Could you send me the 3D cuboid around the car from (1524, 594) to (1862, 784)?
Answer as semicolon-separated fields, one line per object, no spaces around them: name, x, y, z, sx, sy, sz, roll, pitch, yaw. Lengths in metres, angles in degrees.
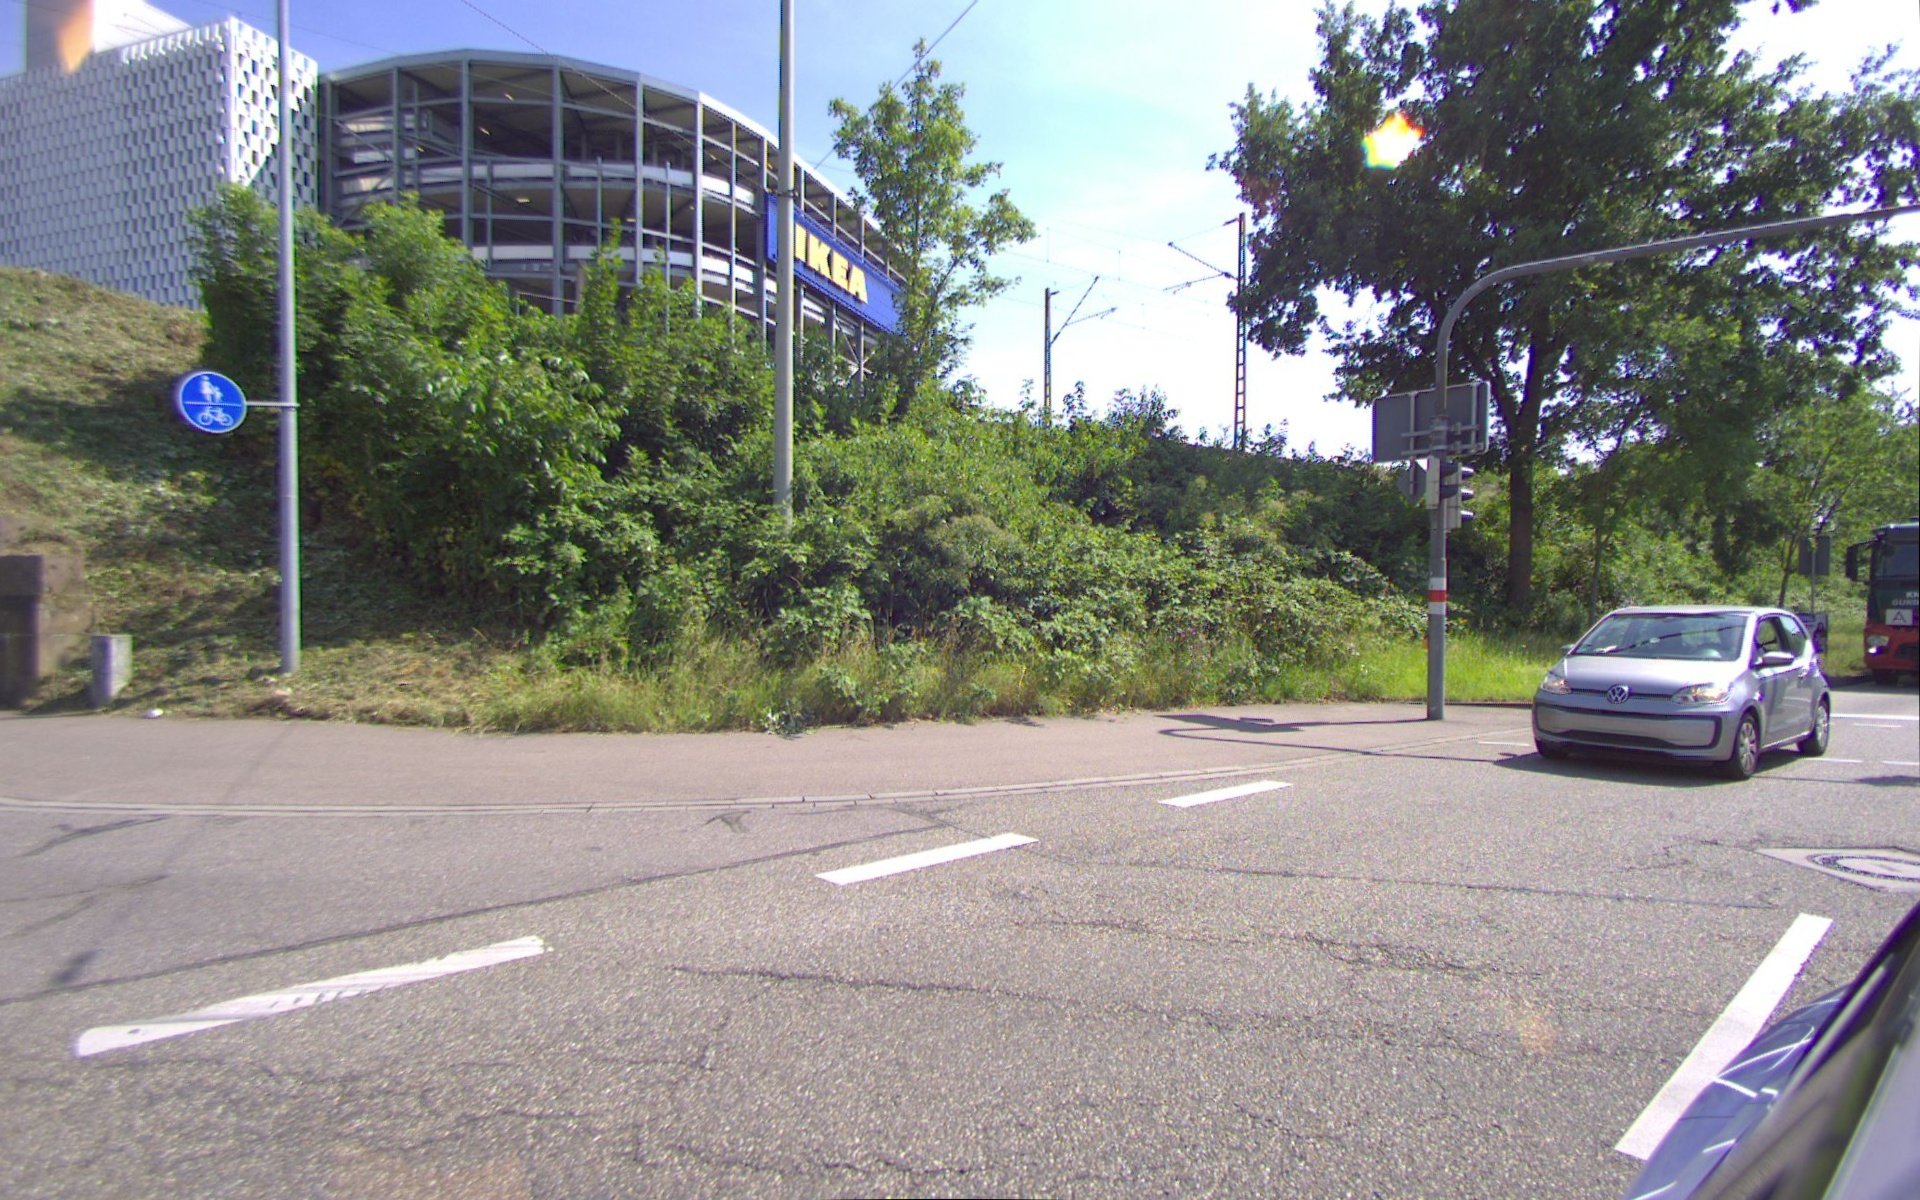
car;7.078;0.689;9.663;3.611;1.455;1.705;0;1;-38

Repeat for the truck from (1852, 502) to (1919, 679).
truck;21.209;-0.162;20.838;7.342;3.308;2.777;0;0;-36
